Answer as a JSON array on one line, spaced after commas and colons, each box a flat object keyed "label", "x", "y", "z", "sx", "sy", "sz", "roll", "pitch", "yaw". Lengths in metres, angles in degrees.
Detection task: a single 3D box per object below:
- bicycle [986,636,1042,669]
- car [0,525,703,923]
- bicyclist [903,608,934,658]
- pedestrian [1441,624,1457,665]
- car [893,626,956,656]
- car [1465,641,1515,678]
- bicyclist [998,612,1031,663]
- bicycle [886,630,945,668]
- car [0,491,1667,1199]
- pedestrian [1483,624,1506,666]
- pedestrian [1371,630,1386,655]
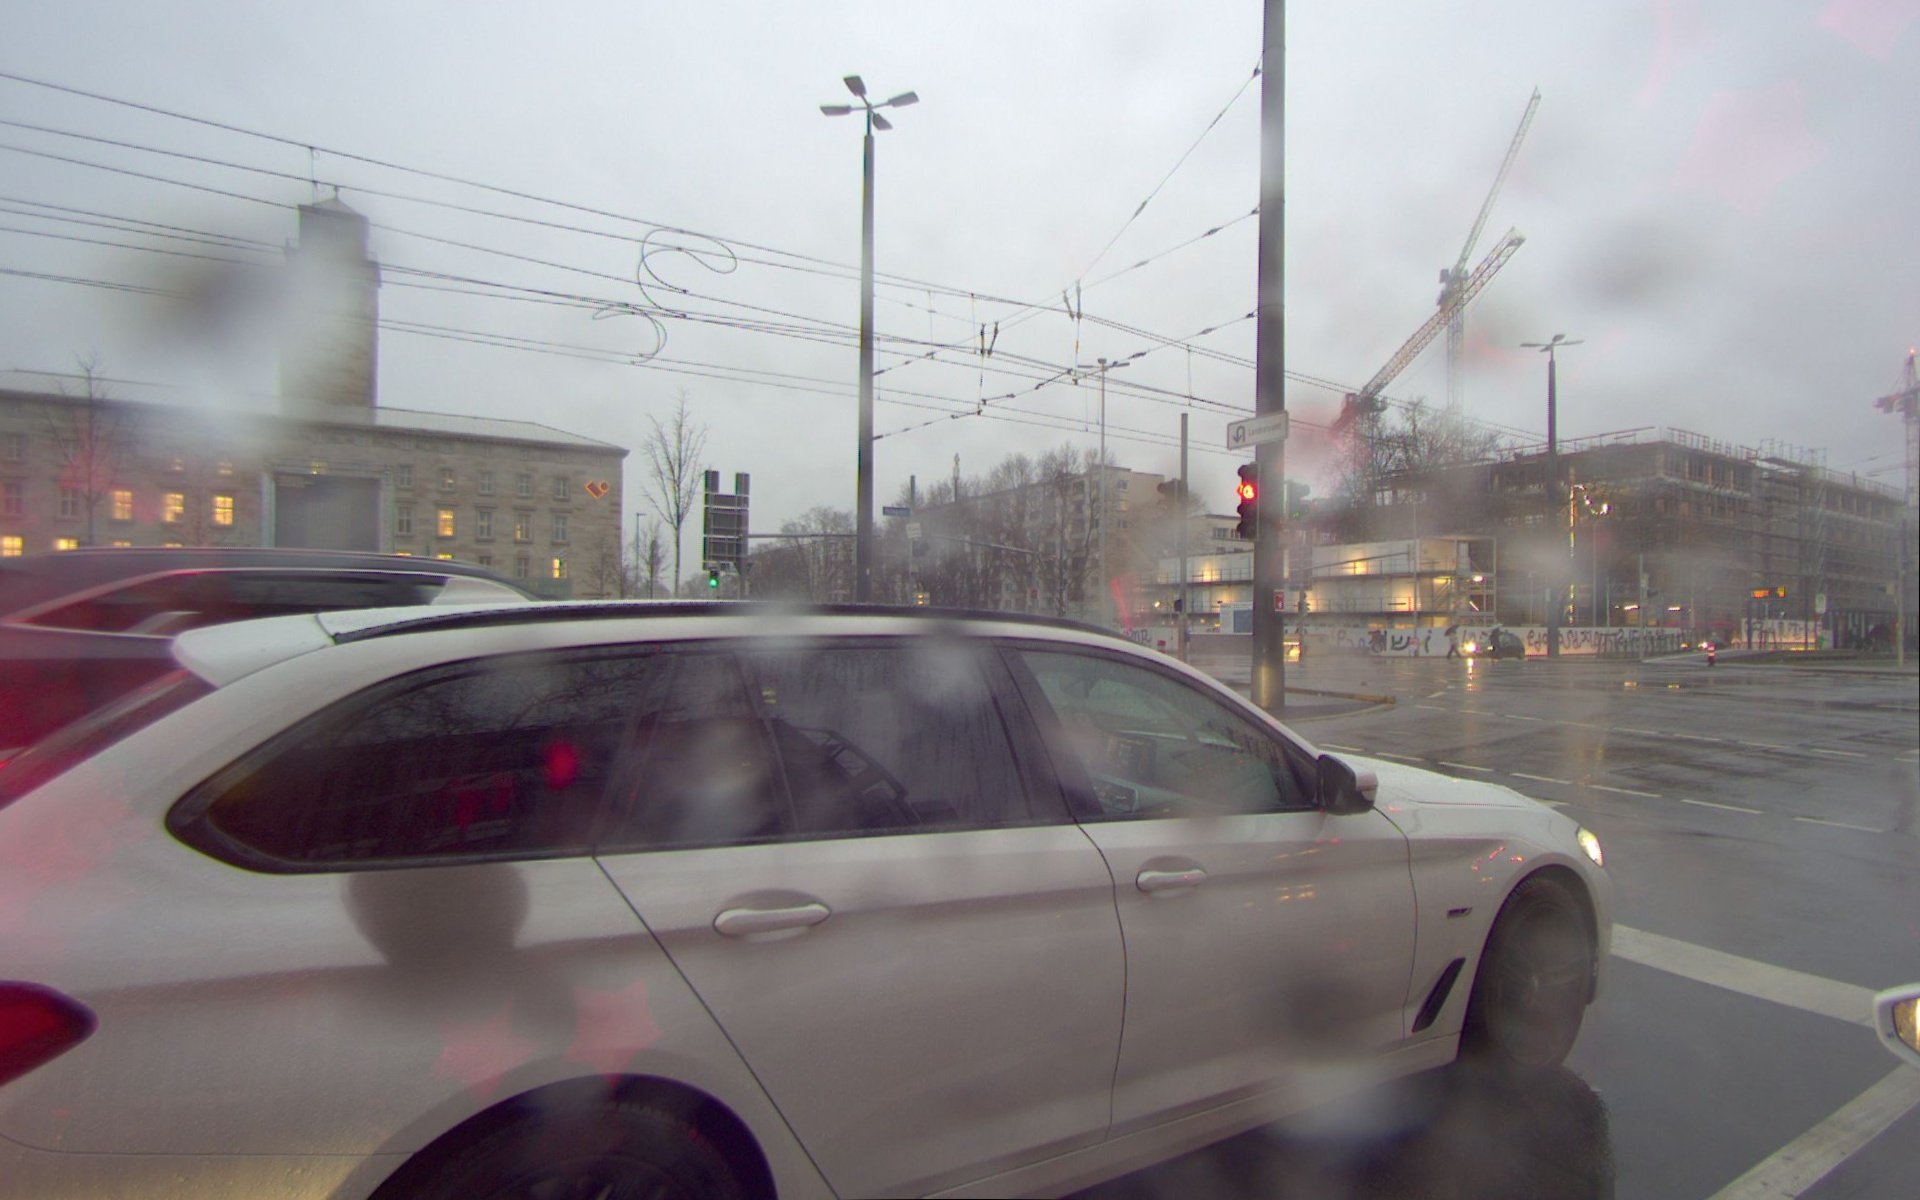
[{"label": "bicycle", "x": 1.847, "y": 1.802, "z": 34.769, "sx": 0.612, "sy": 1.046, "sz": 2.356, "roll": 2, "pitch": -2, "yaw": -36}, {"label": "car", "x": -3.968, "y": 0.588, "z": 5.697, "sx": 4.564, "sy": 1.766, "sz": 1.692, "roll": 2, "pitch": -2, "yaw": -34}, {"label": "bicyclist", "x": -1.577, "y": 1.243, "z": 37.717, "sx": 0.715, "sy": 1.863, "sz": 0.986, "roll": 2, "pitch": -2, "yaw": -39}, {"label": "pedestrian", "x": 24.720, "y": 2.231, "z": 50.789, "sx": 0.635, "sy": 2.040, "sz": 0.503, "roll": 3, "pitch": -3, "yaw": -40}, {"label": "car", "x": -2.130, "y": 2.408, "z": 59.330, "sx": 1.978, "sy": 1.706, "sz": 3.965, "roll": 1, "pitch": -2, "yaw": -33}, {"label": "car", "x": 31.090, "y": 3.452, "z": 58.855, "sx": 1.736, "sy": 2.040, "sz": 3.980, "roll": -1, "pitch": -2, "yaw": 41}, {"label": "bicyclist", "x": 1.882, "y": 1.291, "z": 34.747, "sx": 0.612, "sy": 1.719, "sz": 1.026, "roll": 2, "pitch": -2, "yaw": -36}, {"label": "bicycle", "x": -1.686, "y": 1.846, "z": 37.878, "sx": 0.714, "sy": 1.380, "sz": 2.809, "roll": 2, "pitch": -3, "yaw": -38}, {"label": "car", "x": -0.114, "y": 0.699, "z": 2.999, "sx": 4.868, "sy": 1.540, "sz": 1.900, "roll": 2, "pitch": -2, "yaw": -32}, {"label": "pedestrian", "x": 26.464, "y": 2.219, "z": 49.718, "sx": 0.741, "sy": 2.040, "sz": 0.785, "roll": 2, "pitch": -2, "yaw": -40}, {"label": "pedestrian", "x": 26.853, "y": 2.711, "z": 64.418, "sx": 0.780, "sy": 1.549, "sz": 0.647, "roll": 0, "pitch": -2, "yaw": 10}]
